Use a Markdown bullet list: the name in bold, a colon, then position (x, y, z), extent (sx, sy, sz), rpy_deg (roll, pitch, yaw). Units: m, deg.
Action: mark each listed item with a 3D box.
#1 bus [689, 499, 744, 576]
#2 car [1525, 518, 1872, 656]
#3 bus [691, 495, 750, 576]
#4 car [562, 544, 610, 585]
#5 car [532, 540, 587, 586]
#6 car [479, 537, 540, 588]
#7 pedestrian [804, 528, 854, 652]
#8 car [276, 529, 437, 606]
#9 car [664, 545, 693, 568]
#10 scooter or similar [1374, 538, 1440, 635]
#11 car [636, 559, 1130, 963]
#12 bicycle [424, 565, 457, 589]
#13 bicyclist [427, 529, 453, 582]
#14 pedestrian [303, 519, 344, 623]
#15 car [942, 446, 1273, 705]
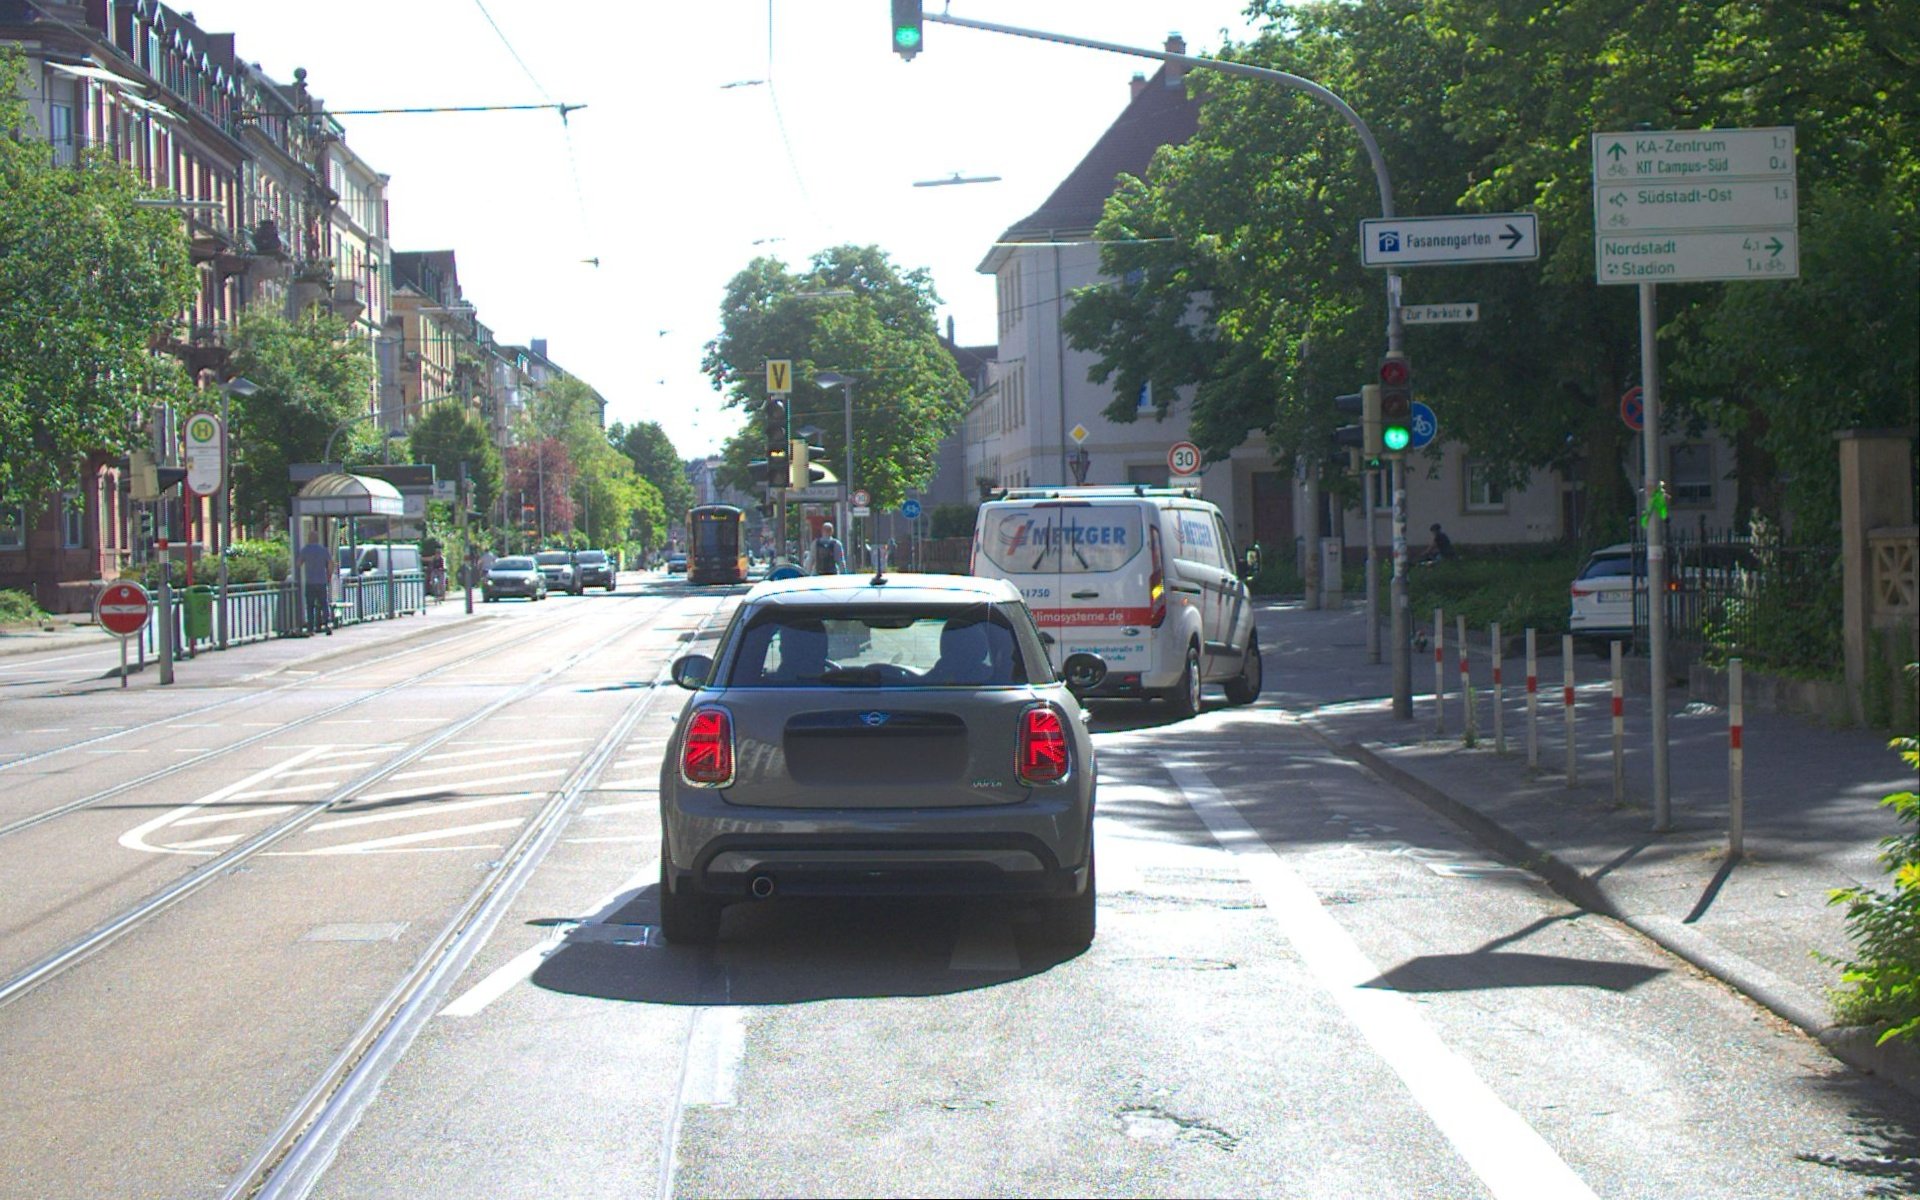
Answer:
- **bus**: position (-11.292, -2.861, 158.885), extent (2.385, 3.484, 7.385), rpy_deg (0, 0, -5)
- **car**: position (9.043, -0.168, 42.000), extent (3.988, 1.612, 2.000), rpy_deg (0, 1, -36)
- **bus**: position (-10.587, -2.818, 151.497), extent (2.385, 3.484, 7.385), rpy_deg (0, 0, -5)
- **car**: position (-14.649, -1.385, 134.777), extent (1.775, 1.612, 4.001), rpy_deg (0, 0, -5)
- **car**: position (-14.188, -1.311, 121.858), extent (1.775, 1.612, 4.001), rpy_deg (0, 0, -5)
- **car**: position (-14.632, -1.217, 111.741), extent (1.775, 1.612, 4.001), rpy_deg (0, 0, -5)
- **pedestrian**: position (-2.134, -0.167, 55.879), extent (0.795, 2.007, 0.740), rpy_deg (0, 0, -2)
- **car**: position (-16.089, -0.865, 91.884), extent (1.995, 2.007, 5.024), rpy_deg (0, 0, 20)
- **car**: position (-19.913, -3.065, 243.071), extent (1.993, 1.590, 4.001), rpy_deg (0, 0, -5)
- **scooter or similar**: position (6.080, -0.187, 46.801), extent (0.676, 1.306, 1.329), rpy_deg (0, 0, -2)
- **car**: position (-0.326, 0.574, 14.643), extent (1.815, 1.483, 4.000), rpy_deg (0, 0, -1)
- **bicycle**: position (-16.383, -0.731, 108.378), extent (0.719, 0.747, 1.916), rpy_deg (0, 0, 1)
- **bicyclist**: position (-16.386, -1.410, 108.341), extent (0.713, 1.660, 0.734), rpy_deg (0, 0, 1)
- **pedestrian**: position (-11.074, -0.509, 59.784), extent (0.577, 1.789, 0.608), rpy_deg (-2, 1, -18)
- **car**: position (1.473, -0.232, 31.889), extent (2.120, 2.201, 4.941), rpy_deg (0, 0, 14)
